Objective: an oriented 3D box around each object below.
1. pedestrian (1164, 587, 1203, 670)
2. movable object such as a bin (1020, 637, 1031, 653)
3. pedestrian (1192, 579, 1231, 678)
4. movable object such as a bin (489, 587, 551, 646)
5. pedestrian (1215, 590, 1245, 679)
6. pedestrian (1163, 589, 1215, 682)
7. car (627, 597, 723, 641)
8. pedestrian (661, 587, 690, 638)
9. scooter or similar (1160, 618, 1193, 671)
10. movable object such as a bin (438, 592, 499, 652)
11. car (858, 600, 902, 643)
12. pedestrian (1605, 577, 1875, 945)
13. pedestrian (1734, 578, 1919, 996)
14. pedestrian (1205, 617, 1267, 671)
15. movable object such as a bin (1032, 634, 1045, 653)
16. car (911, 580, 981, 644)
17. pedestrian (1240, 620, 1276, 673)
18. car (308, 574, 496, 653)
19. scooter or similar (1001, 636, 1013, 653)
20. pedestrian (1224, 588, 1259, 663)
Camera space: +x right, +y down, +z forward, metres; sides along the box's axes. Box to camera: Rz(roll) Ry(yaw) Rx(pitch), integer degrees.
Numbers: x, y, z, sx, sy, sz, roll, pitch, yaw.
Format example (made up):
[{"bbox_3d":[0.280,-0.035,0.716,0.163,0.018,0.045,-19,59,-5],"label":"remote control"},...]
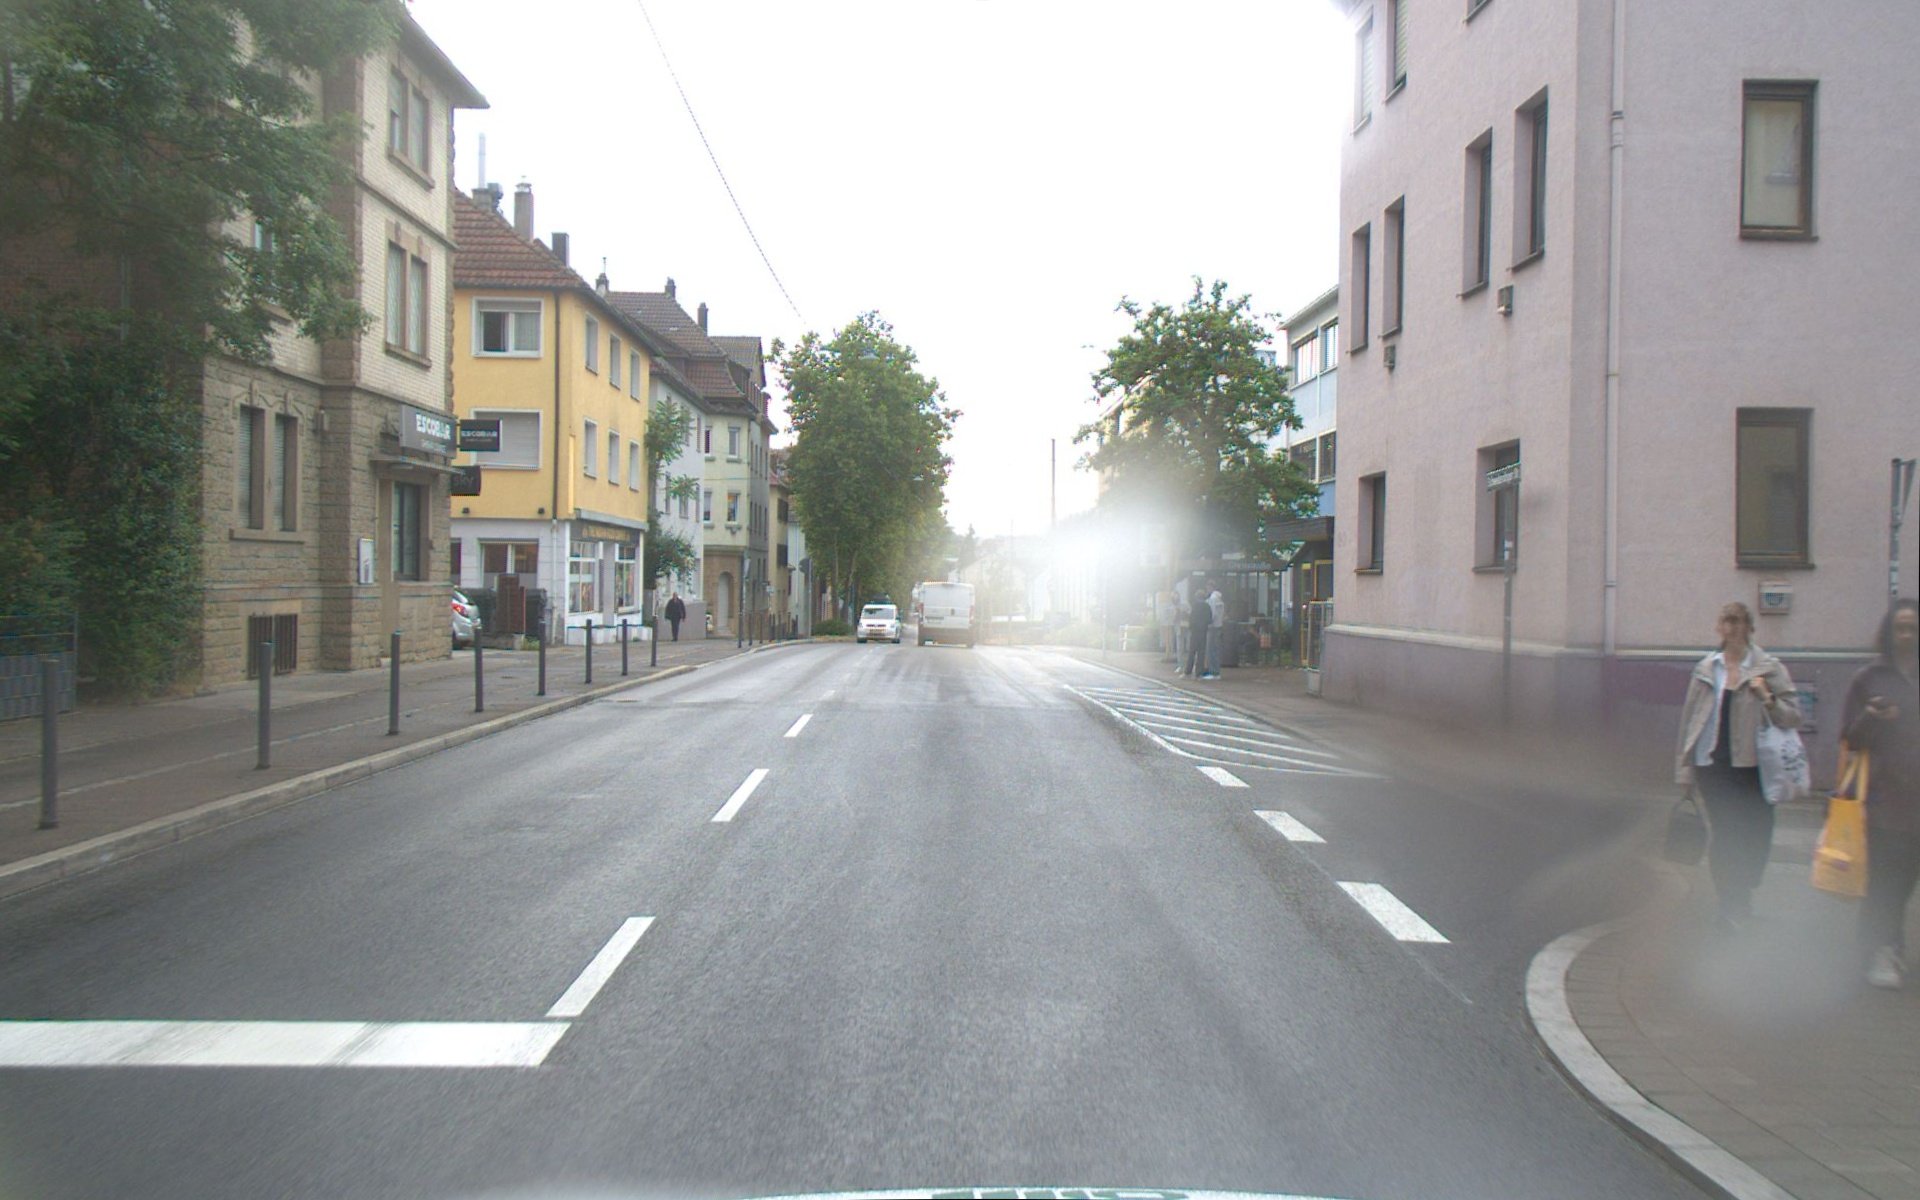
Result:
[{"bbox_3d":[4.829,0.615,35.761,0.647,1.772,0.828,0,-1,-6],"label":"pedestrian"},{"bbox_3d":[3.837,2.628,96.538,0.606,0.953,0.686,-1,-2,0],"label":"movable object such as a bin"},{"bbox_3d":[4.899,0.556,32.190,0.478,1.908,0.630,-2,-1,38],"label":"pedestrian"},{"bbox_3d":[-11.175,0.420,42.085,1.275,1.426,0.983,2,0,-1],"label":"movable object such as a bin"},{"bbox_3d":[5.345,0.673,32.701,0.437,1.738,0.557,-1,-1,22],"label":"pedestrian"},{"bbox_3d":[4.395,0.677,31.714,0.629,1.740,0.740,-1,-1,-35],"label":"pedestrian"},{"bbox_3d":[-13.595,0.914,79.041,4.098,1.733,1.999,5,-1,-1],"label":"car"},{"bbox_3d":[-9.780,0.429,56.801,0.799,1.709,0.992,2,-2,-3],"label":"pedestrian"},{"bbox_3d":[4.781,0.974,36.472,0.605,1.160,0.567,0,-1,-6],"label":"scooter or similar"},{"bbox_3d":[-12.473,0.552,42.028,1.221,1.465,0.983,2,0,-2],"label":"movable object such as a bin"},{"bbox_3d":[-3.629,1.014,75.755,1.843,1.903,4.452,1,-1,-1],"label":"car"},{"bbox_3d":[3.852,0.749,8.273,0.767,1.670,1.222,2,-1,3],"label":"pedestrian"},{"bbox_3d":[3.830,0.733,6.863,0.856,1.588,1.050,2,-1,12],"label":"pedestrian"},{"bbox_3d":[6.686,1.054,40.110,1.329,1.295,0.740,0,-1,-7],"label":"pedestrian"},{"bbox_3d":[4.604,2.534,96.715,0.680,1.101,0.778,-1,-2,0],"label":"movable object such as a bin"},{"bbox_3d":[-0.552,0.398,60.249,2.300,2.198,4.774,1,0,-3],"label":"car"},{"bbox_3d":[6.933,1.084,38.520,0.647,1.220,0.740,0,-1,-6],"label":"pedestrian"},{"bbox_3d":[-12.462,0.292,37.128,3.494,1.512,1.946,3,0,-3],"label":"car"},{"bbox_3d":[3.288,3.125,115.418,0.593,1.182,1.697,1,-2,-5],"label":"scooter or similar"},{"bbox_3d":[7.058,0.633,41.458,0.634,1.863,0.740,0,-1,30],"label":"pedestrian"}]
